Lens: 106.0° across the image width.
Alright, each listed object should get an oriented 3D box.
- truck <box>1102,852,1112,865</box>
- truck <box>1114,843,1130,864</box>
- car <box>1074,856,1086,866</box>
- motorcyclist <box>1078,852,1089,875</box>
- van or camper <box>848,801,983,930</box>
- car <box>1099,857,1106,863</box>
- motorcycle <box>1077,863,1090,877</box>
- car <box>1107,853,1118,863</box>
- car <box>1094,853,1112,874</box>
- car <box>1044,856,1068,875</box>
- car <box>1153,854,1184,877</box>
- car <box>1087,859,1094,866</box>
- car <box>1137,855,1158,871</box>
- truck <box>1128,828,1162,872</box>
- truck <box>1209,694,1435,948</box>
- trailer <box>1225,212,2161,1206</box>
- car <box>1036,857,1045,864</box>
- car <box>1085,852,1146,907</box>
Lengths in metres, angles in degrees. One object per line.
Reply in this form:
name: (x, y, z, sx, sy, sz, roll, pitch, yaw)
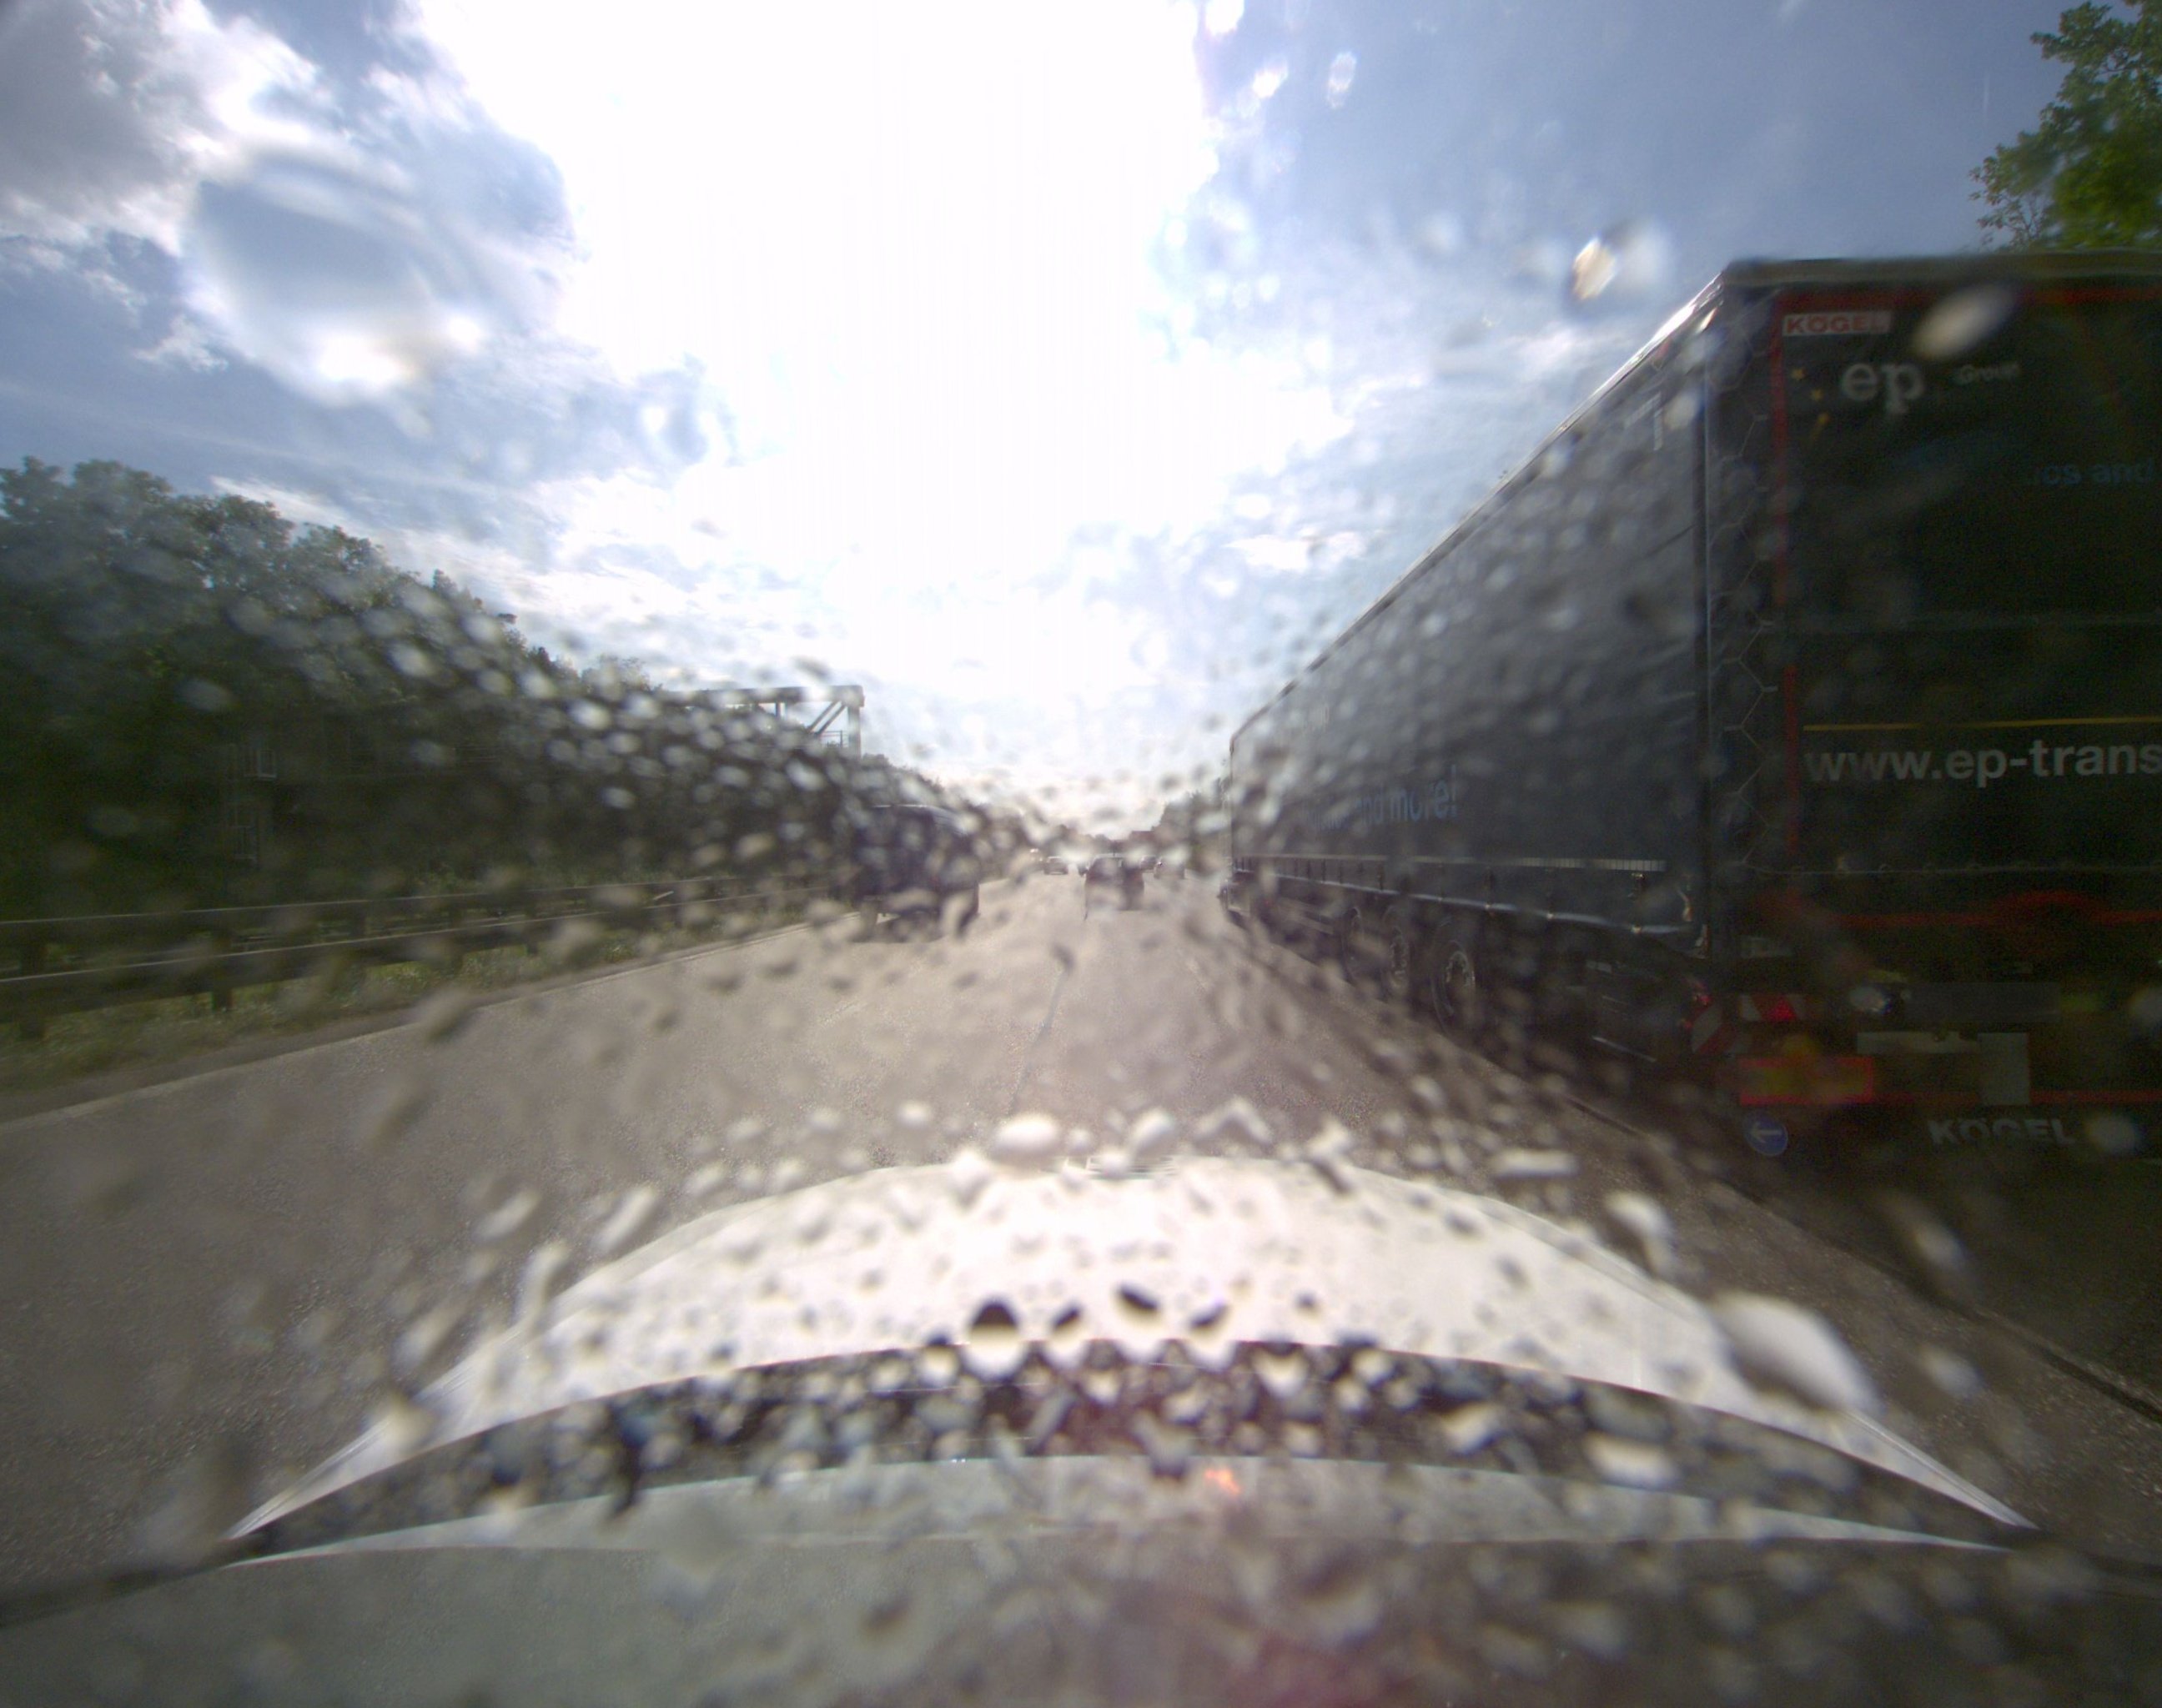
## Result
truck: (5.746, 1.034, 180.634, 2.184, 2.875, 4.851, 0, -1, 2)
truck: (8.830, -0.046, 174.643, 3.242, 4.479, 12.432, 0, -1, 4)
car: (-0.106, 1.069, 123.293, 1.745, 1.457, 3.391, 0, -1, 2)
motorcyclist: (0.183, 0.701, 59.510, 0.799, 1.633, 1.013, 0, -1, 1)
van or camper: (-3.766, 0.265, 19.612, 1.986, 2.669, 5.387, 0, -1, 2)
car: (6.276, 1.693, 241.915, 1.986, 1.701, 4.002, -2, 0, 2)
motorcycle: (0.201, 1.158, 59.535, 0.887, 1.000, 2.897, 0, -1, 2)
car: (4.556, 0.598, 116.525, 1.547, 1.383, 3.211, 0, -1, 2)
car: (1.854, 0.777, 68.535, 1.526, 1.746, 3.486, 0, -1, 2)
car: (-2.091, 0.964, 68.619, 1.847, 1.551, 3.486, 0, -1, 2)
car: (5.607, 0.719, 52.566, 1.686, 1.425, 4.221, 0, 0, 2)
car: (2.047, 1.819, 175.622, 1.479, 1.390, 3.199, 0, -1, 2)
car: (5.994, 0.819, 73.658, 1.674, 1.442, 3.906, 0, -1, 2)
truck: (7.541, -0.373, 97.383, 3.634, 4.720, 16.794, 0, 0, 4)
truck: (4.382, -0.496, 16.538, 2.597, 3.996, 7.292, 0, -1, 2)
trailer: (4.188, -0.543, 10.306, 2.624, 3.996, 14.069, 0, 0, 2)
car: (-10.286, 1.559, 206.232, 1.822, 1.663, 4.632, 0, -1, 2)
car: (1.039, 0.751, 24.998, 1.711, 1.568, 3.486, 0, -1, 2)
